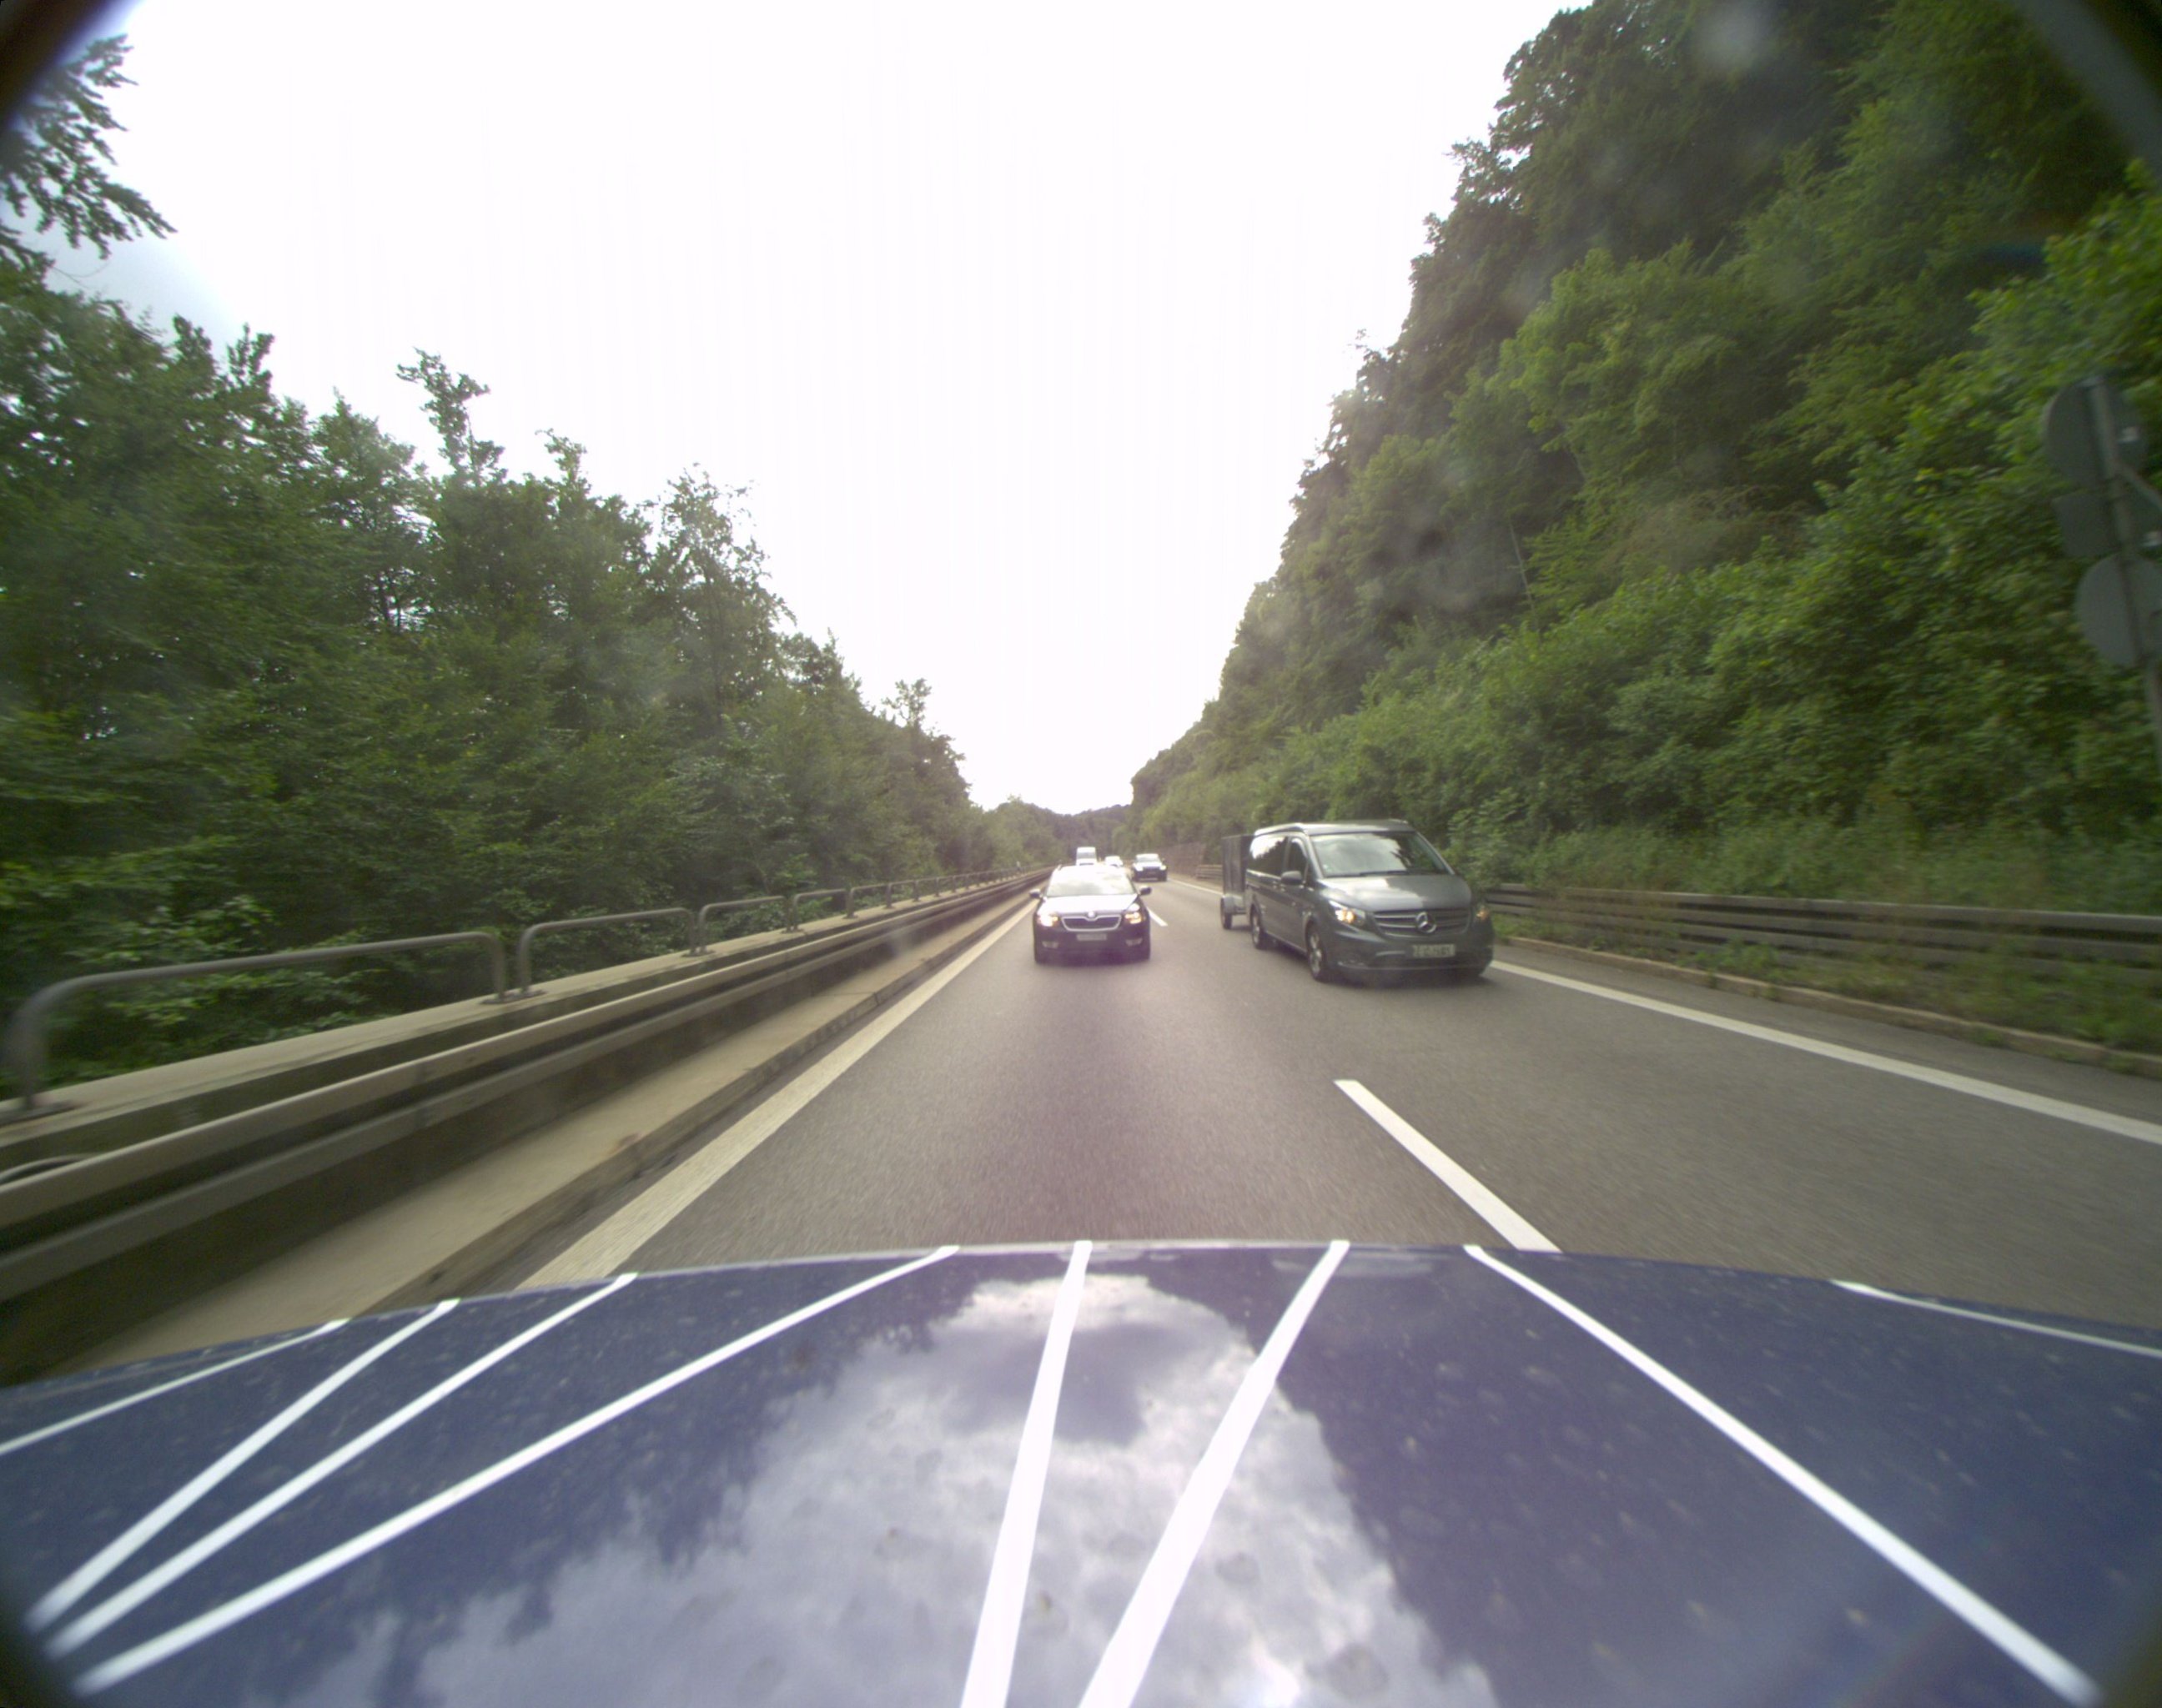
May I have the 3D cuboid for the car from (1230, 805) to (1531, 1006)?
[{"bbox_3d":[3.615,0.551,10.575,1.998,2.002,5.540,-2,0,0],"label":"car"}]

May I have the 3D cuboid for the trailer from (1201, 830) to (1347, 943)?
[{"bbox_3d":[3.650,0.579,15.016,1.976,1.928,3.430,-2,0,0],"label":"trailer"}]

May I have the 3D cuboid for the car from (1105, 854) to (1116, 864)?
[{"bbox_3d":[4.844,0.817,126.361,1.823,1.546,4.001,0,-1,2],"label":"car"}]

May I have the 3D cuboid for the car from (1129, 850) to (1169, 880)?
[{"bbox_3d":[4.134,0.640,46.890,1.976,1.584,5.584,-2,1,0],"label":"car"}]

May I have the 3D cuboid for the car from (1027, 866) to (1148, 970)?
[{"bbox_3d":[0.135,0.951,12.921,1.638,1.384,4.500,-3,-1,1],"label":"car"}]

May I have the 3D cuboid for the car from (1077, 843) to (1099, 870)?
[{"bbox_3d":[0.748,0.328,74.636,2.099,2.547,5.921,0,-1,1],"label":"car"}]

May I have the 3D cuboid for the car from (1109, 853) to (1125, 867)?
[{"bbox_3d":[4.244,0.762,90.401,1.823,1.546,4.001,0,-1,1],"label":"car"}]
